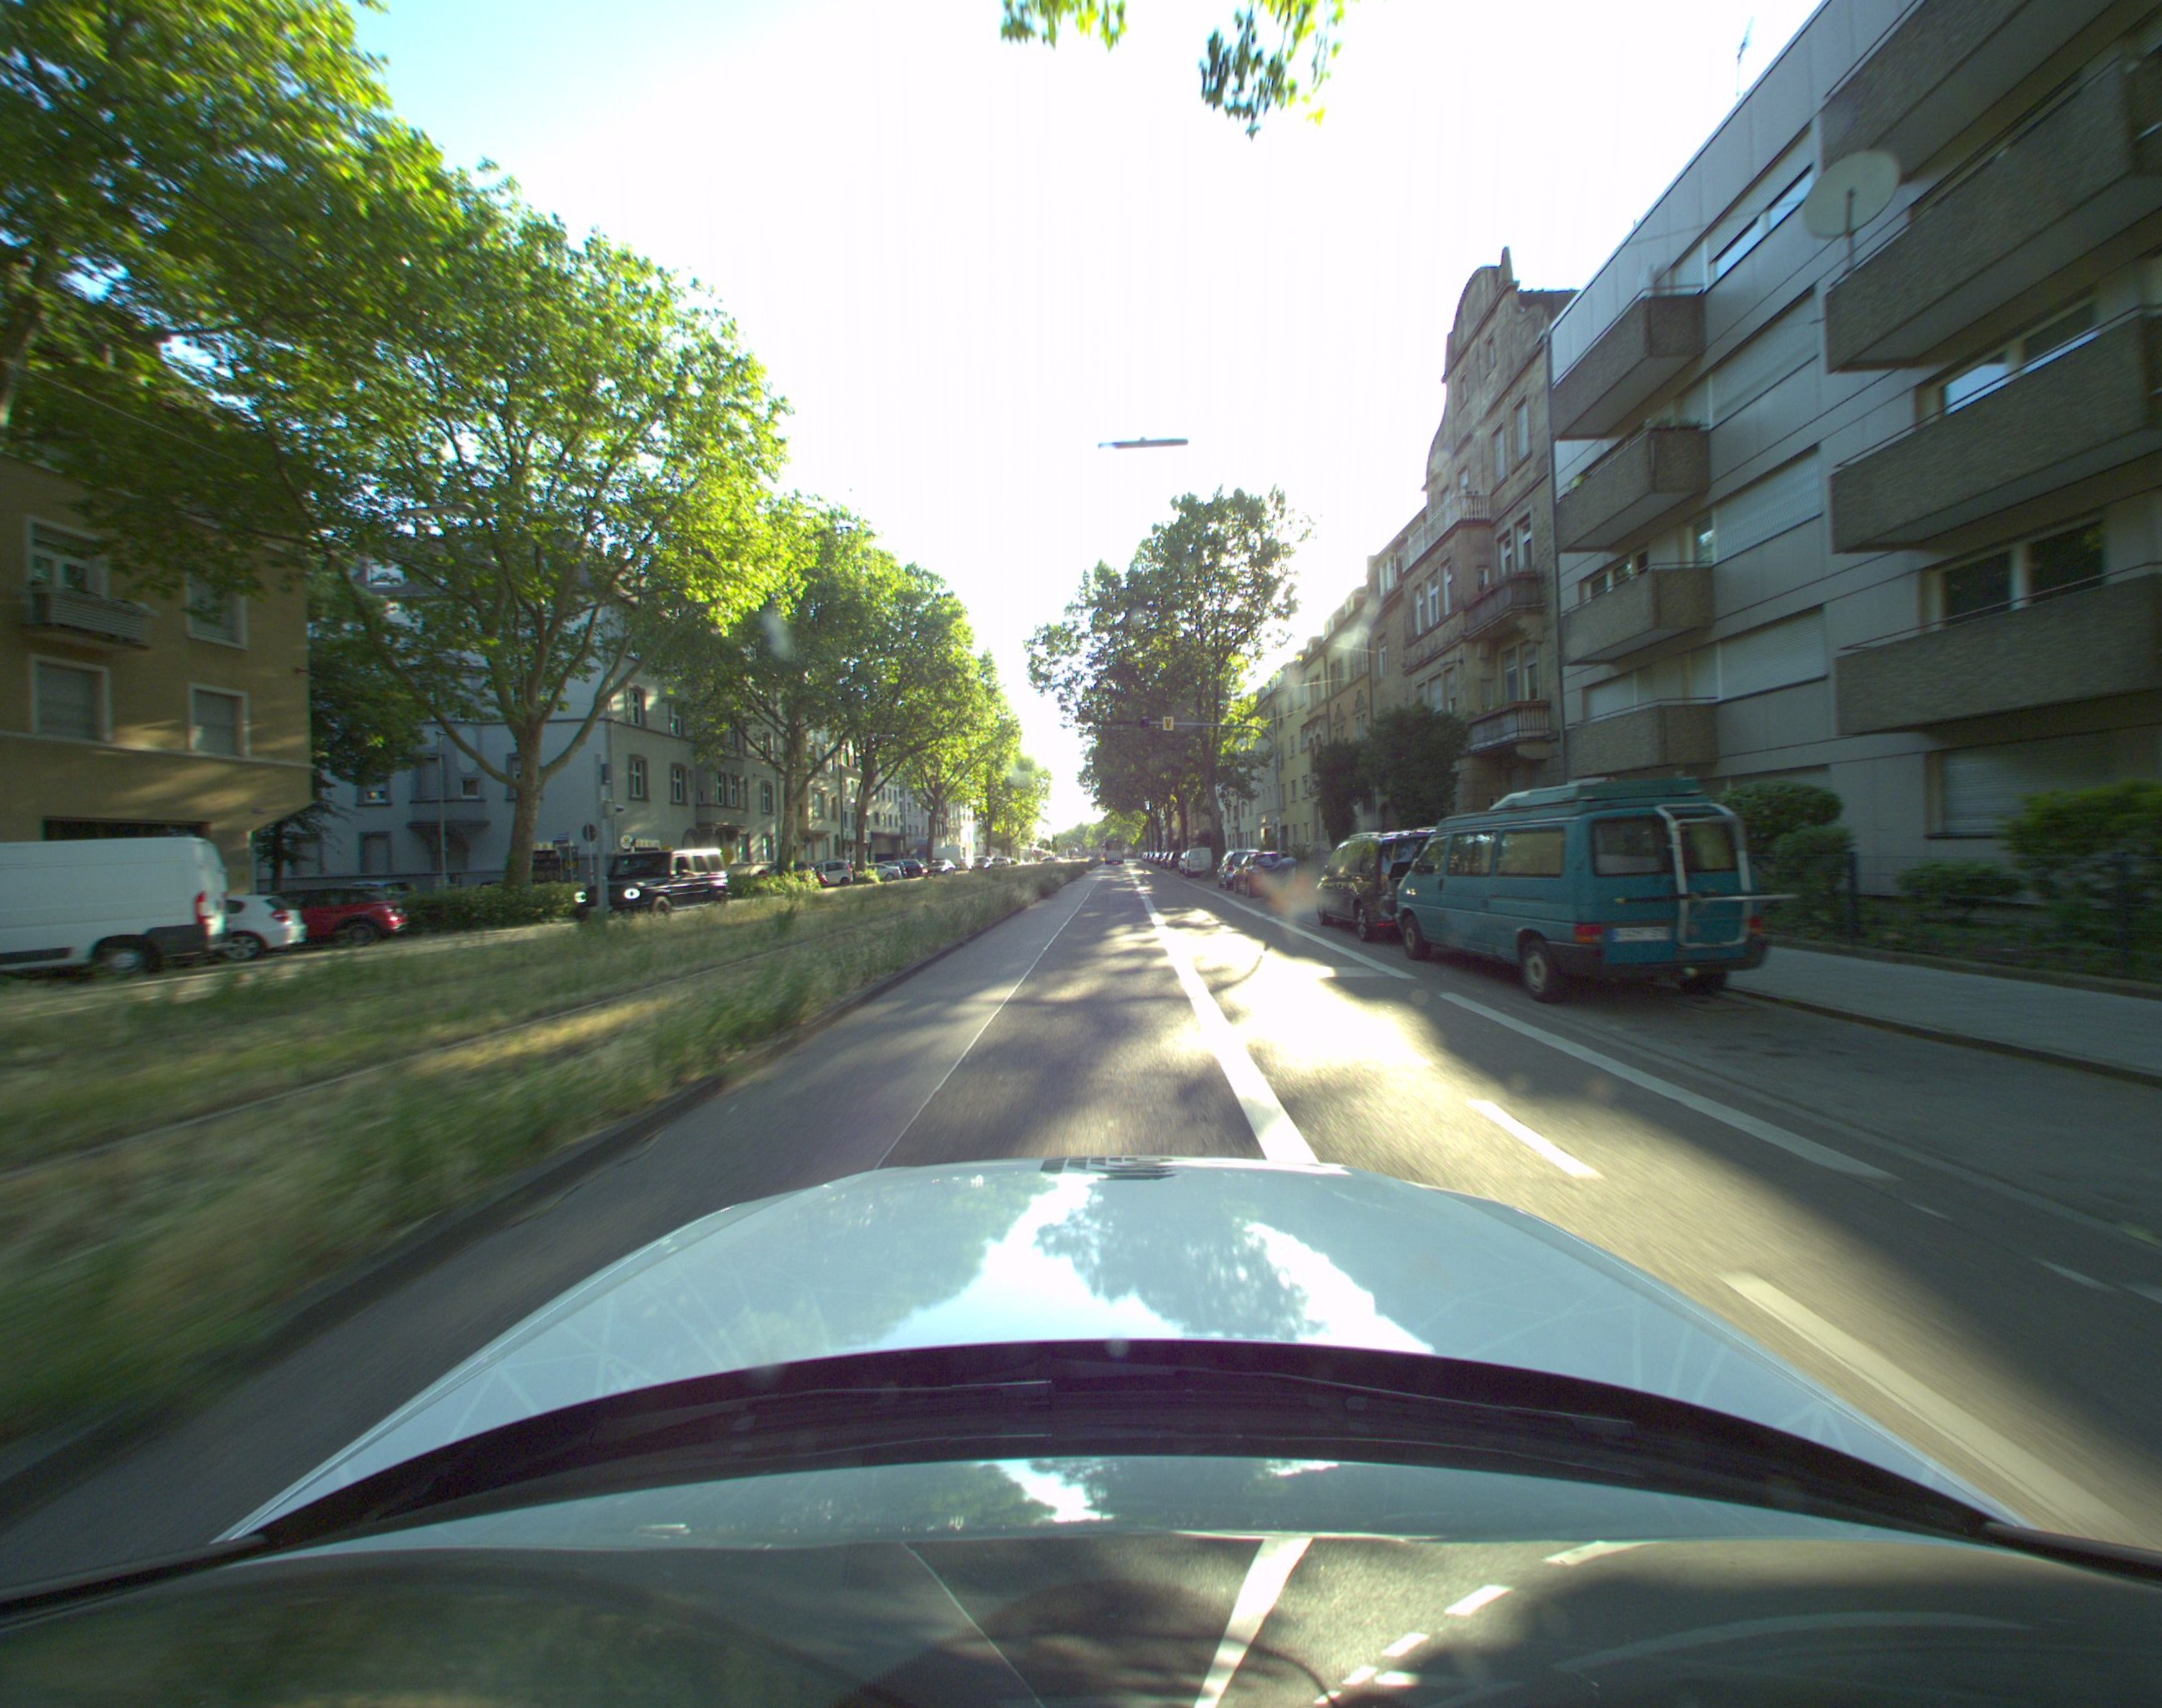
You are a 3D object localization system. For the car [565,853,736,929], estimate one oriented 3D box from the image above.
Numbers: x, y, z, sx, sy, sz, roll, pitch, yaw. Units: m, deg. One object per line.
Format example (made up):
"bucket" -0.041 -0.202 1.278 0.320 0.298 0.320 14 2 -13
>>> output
"car" -10.953 0.888 21.200 1.863 1.693 4.775 -2 -1 0

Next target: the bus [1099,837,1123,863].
"bus" 4.010 -0.505 109.072 2.824 3.235 8.180 -2 -1 0

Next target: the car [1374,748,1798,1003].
"car" 5.531 0.219 10.025 1.986 2.257 5.236 -2 -1 1

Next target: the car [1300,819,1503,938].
"car" 5.745 0.418 15.364 1.986 1.830 4.758 -2 -1 1

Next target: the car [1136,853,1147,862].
"car" 10.314 0.565 139.290 1.774 1.516 4.003 -2 0 2

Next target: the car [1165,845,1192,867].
"car" 8.251 0.210 69.427 1.738 1.770 4.989 -2 -1 1

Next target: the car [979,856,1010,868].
"car" -12.887 1.208 121.196 4.333 1.738 1.837 -1 -1 -38

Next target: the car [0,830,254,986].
"car" -18.356 0.913 14.036 5.537 2.529 2.101 -2 0 -40

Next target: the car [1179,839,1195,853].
"car" 15.303 -1.130 117.634 1.876 1.860 4.328 -2 -1 2

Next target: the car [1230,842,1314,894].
"car" 6.423 0.468 27.836 1.986 1.560 3.981 -2 -1 1

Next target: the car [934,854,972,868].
"car" -15.103 0.857 96.202 4.289 1.458 1.856 -2 -1 -4

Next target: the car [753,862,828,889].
"car" -17.633 1.304 49.476 4.018 1.448 1.568 -1 -1 -37

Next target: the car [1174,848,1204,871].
"car" 7.502 0.370 56.935 1.639 1.486 4.002 -2 0 2

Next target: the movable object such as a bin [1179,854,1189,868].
"movable object such as a bin" 8.071 0.517 63.771 0.671 1.045 0.880 -2 1 2

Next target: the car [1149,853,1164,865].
"car" 10.236 0.705 110.093 1.774 1.516 4.003 -2 0 2

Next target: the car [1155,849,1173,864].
"car" 9.439 0.273 92.538 1.774 1.516 4.003 -2 0 2

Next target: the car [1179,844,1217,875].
"car" 7.214 0.355 50.505 1.738 1.770 4.395 -2 -1 1

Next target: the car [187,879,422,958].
"car" -18.451 1.473 19.605 3.721 1.466 1.720 -3 1 -30

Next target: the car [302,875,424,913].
"car" -33.240 1.838 37.790 3.975 1.508 1.814 -2 0 -1

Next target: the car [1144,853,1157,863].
"car" 11.295 0.588 132.694 1.774 1.516 4.003 -2 0 2

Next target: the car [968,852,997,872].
"car" -8.378 0.671 69.451 1.783 1.574 4.003 -2 0 3

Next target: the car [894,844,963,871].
"car" -16.162 0.397 86.362 6.958 2.678 2.172 -2 -1 -19

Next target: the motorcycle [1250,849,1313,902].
"motorcycle" 5.789 0.599 23.713 0.824 1.398 2.371 -4 0 -10

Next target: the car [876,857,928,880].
"car" -15.493 1.262 70.587 4.012 1.699 1.838 -4 0 -30

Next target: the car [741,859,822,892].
"car" -17.223 1.209 46.838 4.018 1.723 1.764 -1 -1 -37

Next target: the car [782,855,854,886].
"car" -17.090 1.054 53.027 4.017 1.882 1.978 -1 -1 -36

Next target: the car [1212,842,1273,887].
"car" 6.539 0.413 33.308 1.738 1.690 3.853 -2 -1 1

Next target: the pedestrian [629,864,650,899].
"pedestrian" -23.174 1.434 42.742 0.624 1.759 0.674 -2 0 7

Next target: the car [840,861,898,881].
"car" -16.151 1.269 62.099 4.012 1.356 1.571 -1 -1 -30

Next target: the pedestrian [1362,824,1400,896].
"pedestrian" 8.325 0.166 22.612 0.708 1.937 0.815 -2 0 2

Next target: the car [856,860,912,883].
"car" -16.262 1.438 67.237 4.012 1.553 1.839 -5 2 -30

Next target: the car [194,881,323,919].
"car" -37.775 2.081 37.474 3.975 1.508 1.814 -2 0 -1

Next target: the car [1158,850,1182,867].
"car" 8.290 0.415 76.322 1.681 1.486 3.997 -2 -1 -2

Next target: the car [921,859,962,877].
"car" -11.532 1.133 67.673 1.734 1.460 4.940 -2 -1 11

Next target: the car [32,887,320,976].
"car" -18.302 1.495 16.770 3.729 1.399 1.716 -2 0 -40
